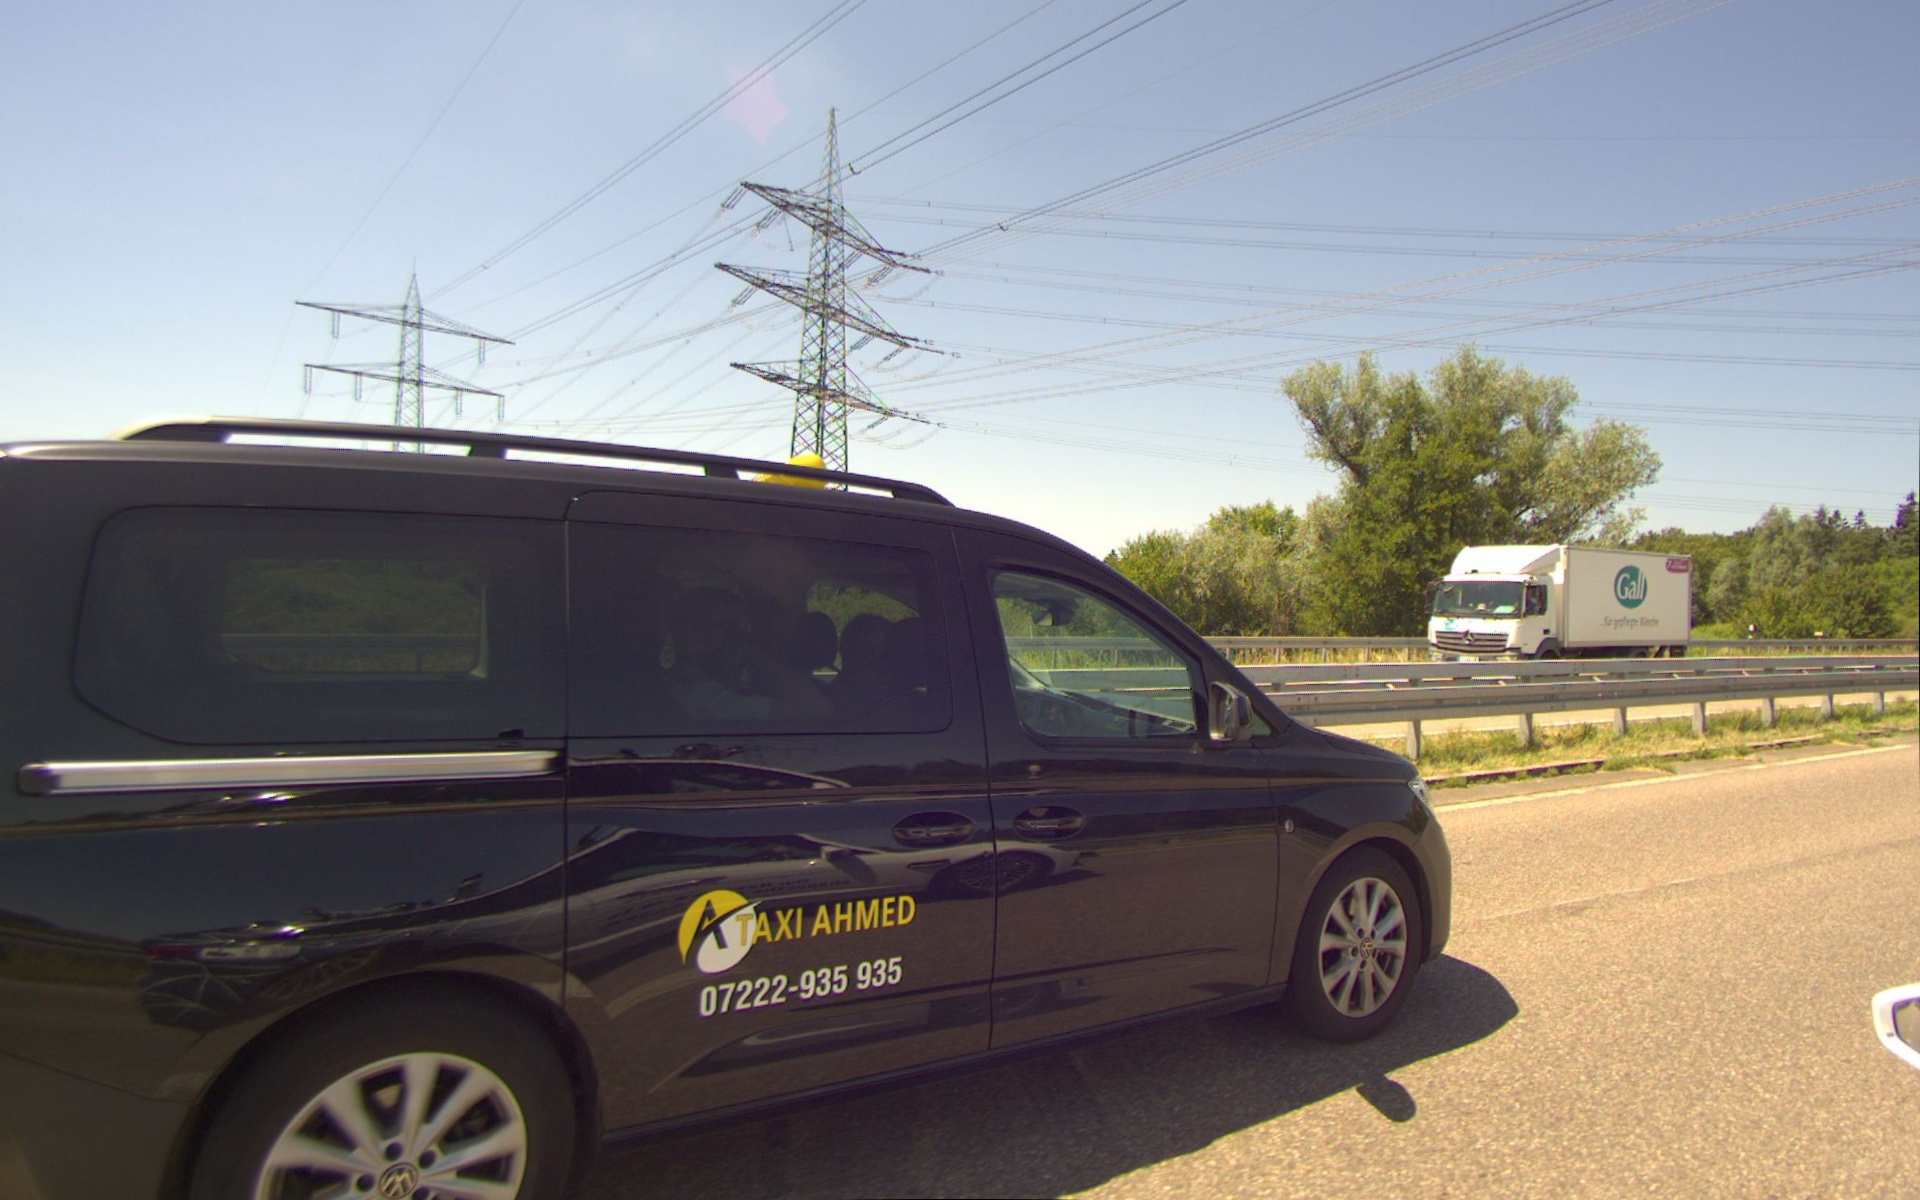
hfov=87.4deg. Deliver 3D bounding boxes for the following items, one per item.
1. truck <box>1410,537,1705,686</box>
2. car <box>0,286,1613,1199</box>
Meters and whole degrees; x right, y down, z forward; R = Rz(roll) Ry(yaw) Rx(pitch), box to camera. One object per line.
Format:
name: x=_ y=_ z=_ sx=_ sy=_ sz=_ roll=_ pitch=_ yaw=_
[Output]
truck: x=15.102 y=0.333 z=25.143 sx=8.307 sy=3.235 sz=2.705 roll=1 pitch=-1 yaw=-31
car: x=-0.116 y=0.516 z=3.524 sx=5.510 sy=1.912 sz=1.845 roll=2 pitch=-1 yaw=-31
